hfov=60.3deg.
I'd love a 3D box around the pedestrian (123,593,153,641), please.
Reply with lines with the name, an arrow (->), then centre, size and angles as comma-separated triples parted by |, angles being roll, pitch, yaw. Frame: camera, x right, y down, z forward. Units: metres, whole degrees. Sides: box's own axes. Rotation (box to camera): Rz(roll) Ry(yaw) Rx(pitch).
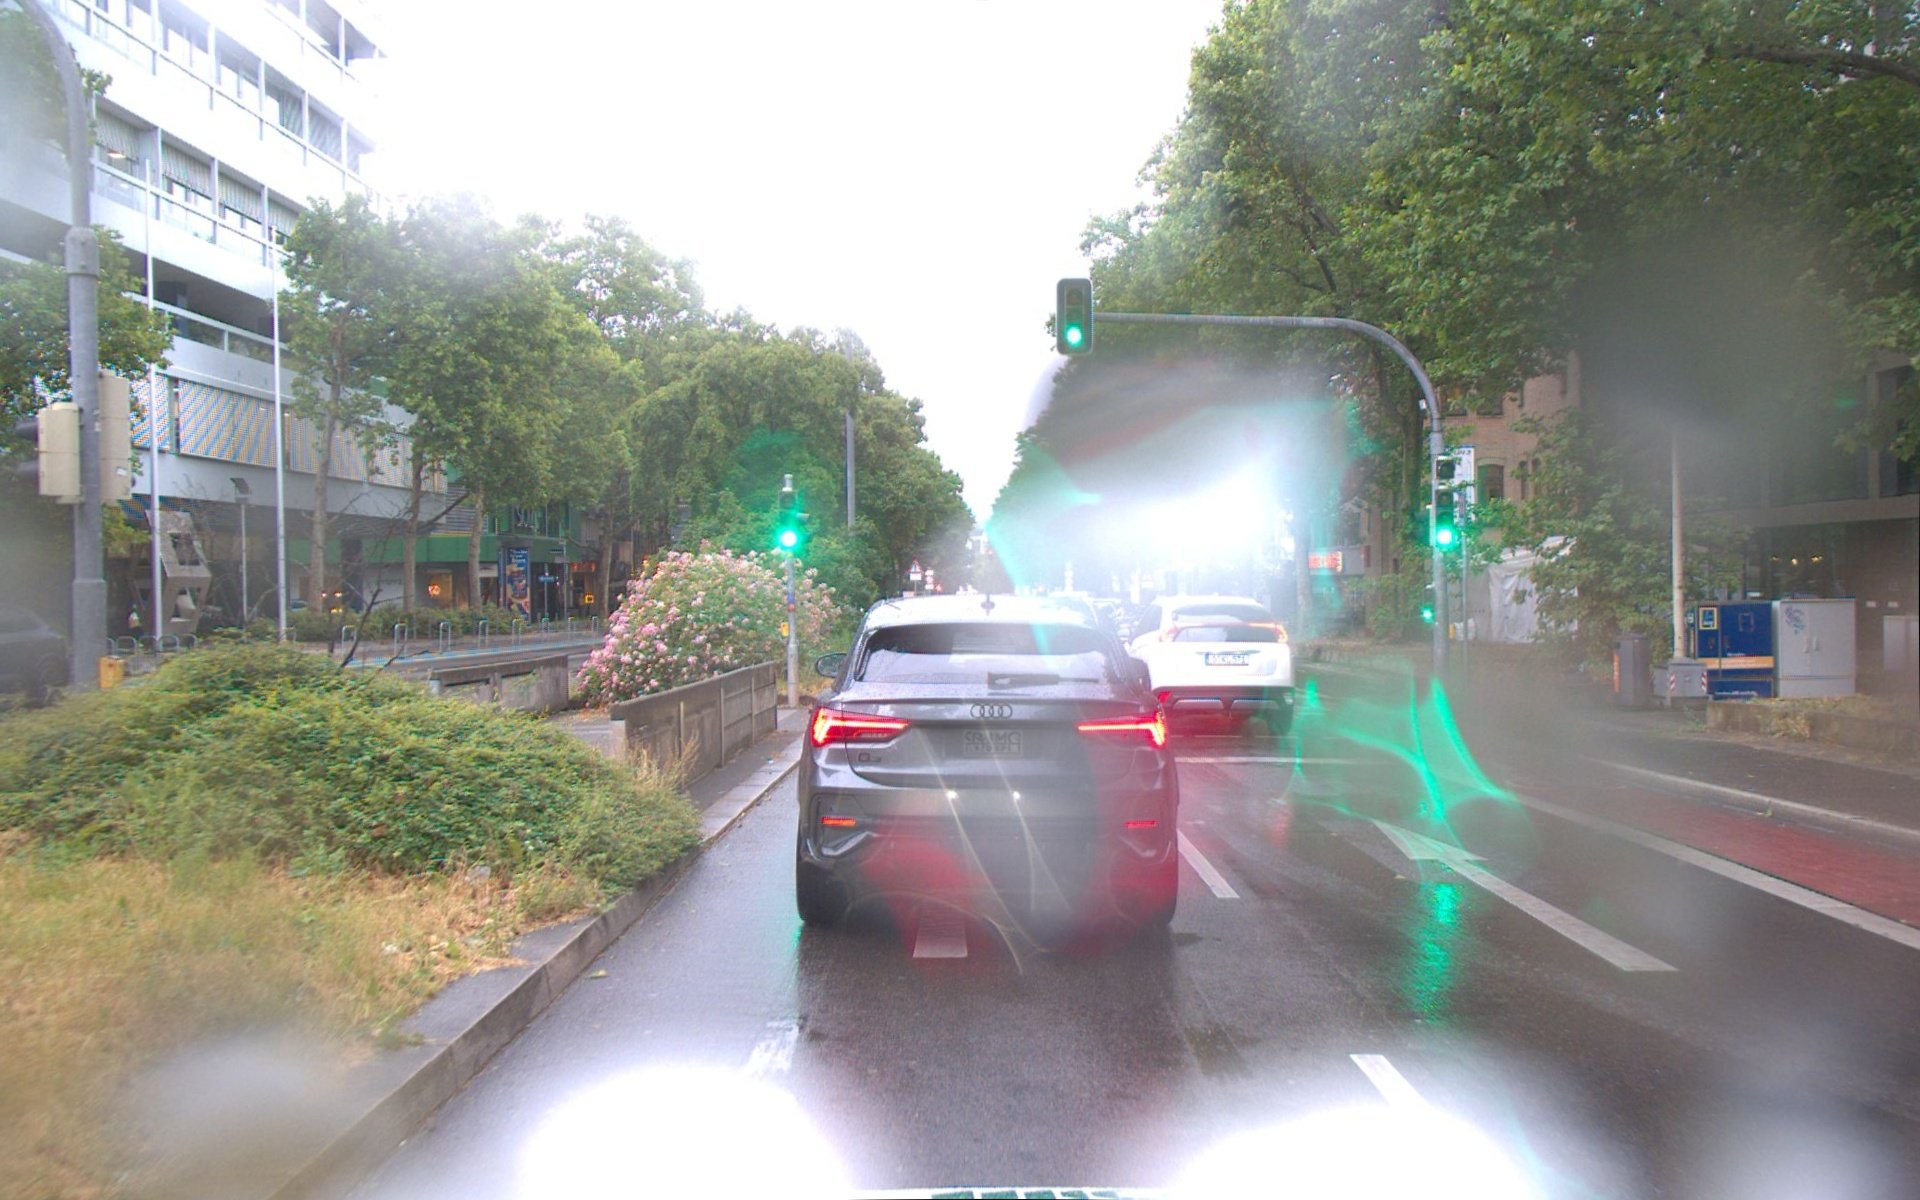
pedestrian -> -24.445, 0.516, 49.162 | 0.625, 1.404, 0.474 | 1, -1, -3

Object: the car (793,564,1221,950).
car -> 0.169, 0.676, 9.014 | 1.812, 1.630, 3.999 | 0, 0, -1

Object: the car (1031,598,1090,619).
car -> 8.527, 0.735, 139.938 | 4.549, 1.736, 1.997 | 1, -1, 28

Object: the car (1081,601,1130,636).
car -> 6.877, 0.889, 78.557 | 1.693, 1.599, 4.069 | 1, -1, -4

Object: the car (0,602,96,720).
car -> -14.058, 0.811, 22.484 | 1.869, 1.612, 4.748 | 1, -1, 4

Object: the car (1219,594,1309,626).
car -> 10.764, 0.360, 58.619 | 2.831, 1.093, 1.452 | 1, -1, 31

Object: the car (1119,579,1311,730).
car -> 3.164, 0.663, 21.264 | 1.839, 1.727, 3.999 | 1, -1, 0

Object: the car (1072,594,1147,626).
car -> 9.785, 0.657, 108.334 | 4.519, 2.049, 1.959 | 0, -1, 38

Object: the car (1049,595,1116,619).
car -> 9.119, 0.518, 122.973 | 4.549, 1.736, 1.997 | 1, -1, 28

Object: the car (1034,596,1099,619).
car -> 8.165, 0.566, 126.557 | 4.549, 1.736, 1.997 | 1, -1, 28

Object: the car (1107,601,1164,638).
car -> 7.161, 0.778, 67.835 | 1.835, 1.446, 4.611 | 1, 0, 0

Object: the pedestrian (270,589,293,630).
pedestrian -> -24.960, 0.350, 60.839 | 0.597, 1.508, 0.574 | 1, -1, -3

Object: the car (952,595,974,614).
car -> 0.270, 0.452, 148.363 | 1.857, 1.627, 3.938 | 1, -1, -1

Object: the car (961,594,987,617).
car -> 1.131, 0.469, 130.840 | 1.953, 1.757, 3.999 | 1, -1, -1

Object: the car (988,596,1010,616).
car -> 3.537, 0.558, 150.427 | 1.953, 1.680, 4.000 | 1, -1, 0
